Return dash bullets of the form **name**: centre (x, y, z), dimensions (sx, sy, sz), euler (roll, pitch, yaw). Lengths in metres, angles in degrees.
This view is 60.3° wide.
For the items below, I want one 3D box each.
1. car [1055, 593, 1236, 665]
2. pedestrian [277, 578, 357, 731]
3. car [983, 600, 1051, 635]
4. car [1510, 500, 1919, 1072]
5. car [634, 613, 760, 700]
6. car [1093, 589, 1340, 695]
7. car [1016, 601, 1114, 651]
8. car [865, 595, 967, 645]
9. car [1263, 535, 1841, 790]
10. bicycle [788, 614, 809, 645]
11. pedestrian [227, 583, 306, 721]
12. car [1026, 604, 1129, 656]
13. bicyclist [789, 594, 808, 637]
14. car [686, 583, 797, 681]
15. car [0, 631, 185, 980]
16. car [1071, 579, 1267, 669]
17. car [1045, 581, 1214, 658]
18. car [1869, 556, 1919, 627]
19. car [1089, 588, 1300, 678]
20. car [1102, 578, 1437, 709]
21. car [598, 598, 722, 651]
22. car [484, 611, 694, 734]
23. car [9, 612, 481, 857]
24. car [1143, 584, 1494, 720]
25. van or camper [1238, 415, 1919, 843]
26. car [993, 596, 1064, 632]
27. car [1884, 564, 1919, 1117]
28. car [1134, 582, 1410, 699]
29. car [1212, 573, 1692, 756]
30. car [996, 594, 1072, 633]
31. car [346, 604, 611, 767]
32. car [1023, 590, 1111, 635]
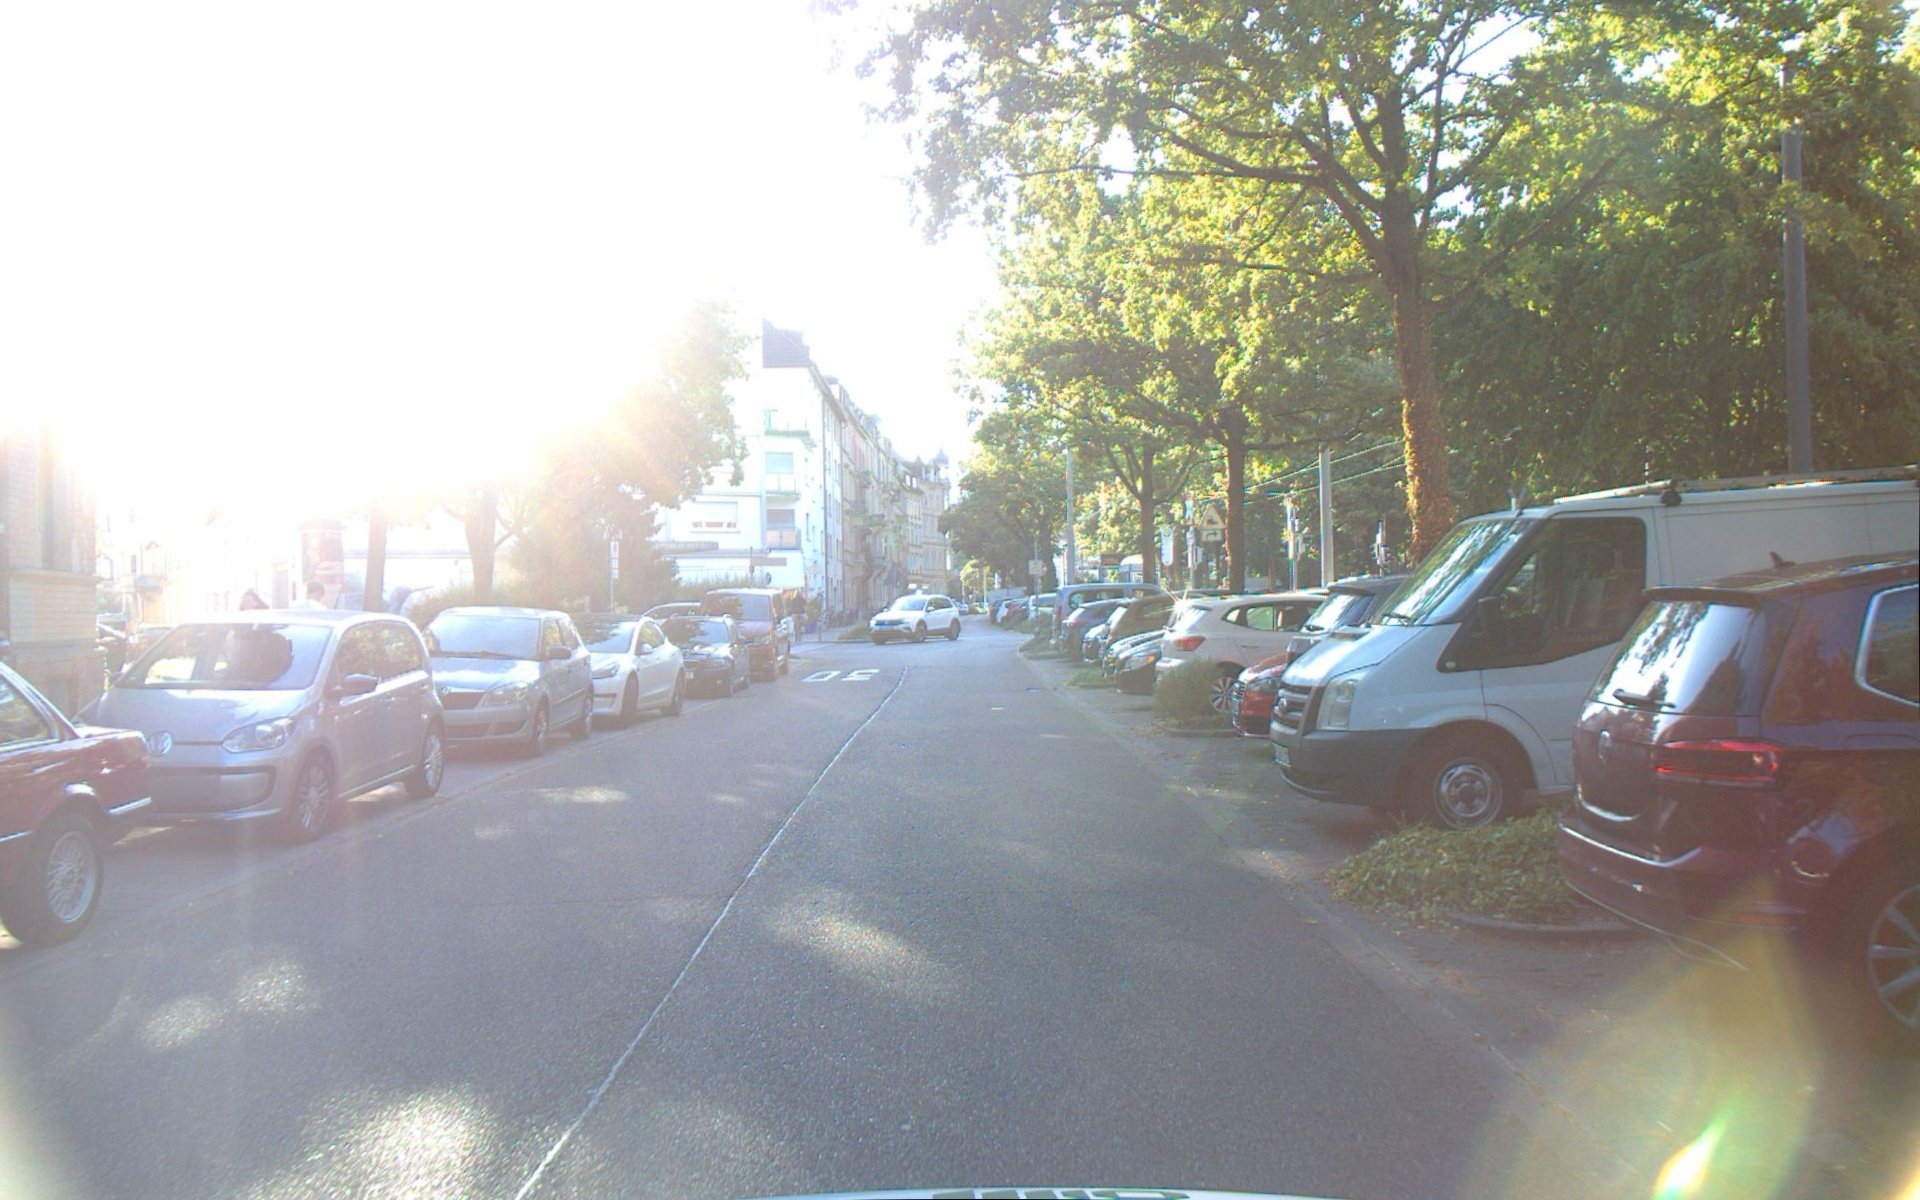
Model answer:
- **car**: centre (4.226, 0.689, 38.156), dimensions (3.907, 1.591, 1.858), euler (0, -2, -3)
- **pedestrian**: centre (-7.388, 0.615, 19.025), dimensions (0.585, 1.697, 0.708), euler (-2, 2, -1)
- **car**: centre (3.504, 1.108, 101.843), dimensions (3.901, 2.049, 2.001), euler (-1, -2, 11)
- **car**: centre (4.288, 0.477, 5.988), dimensions (3.905, 1.721, 1.859), euler (-3, 0, 1)
- **car**: centre (-4.893, 1.017, 31.286), dimensions (1.720, 1.491, 4.267), euler (0, 0, 0)
- **car**: centre (4.361, 0.725, 28.523), dimensions (3.907, 1.729, 1.858), euler (0, -2, -3)
- **car**: centre (4.484, 1.142, 70.304), dimensions (3.901, 2.049, 2.001), euler (-1, -2, 11)
- **car**: centre (-1.505, 0.688, 58.529), dimensions (1.743, 1.703, 4.483), euler (-1, 0, 25)
- **car**: centre (4.549, 0.455, 13.116), dimensions (3.907, 1.849, 1.858), euler (0, 0, -3)
- **bicycle**: centre (-5.958, 1.084, 61.109), dimensions (0.628, 1.119, 1.943), euler (0, -2, -1)
- **pedestrian**: centre (-8.281, 0.608, 19.760), dimensions (0.585, 1.577, 0.708), euler (-2, 2, -1)
- **car**: centre (4.748, 1.230, 66.763), dimensions (3.901, 2.049, 2.001), euler (-1, -2, 11)
- **bicyclist**: centre (-5.971, 0.579, 61.160), dimensions (0.615, 1.601, 0.802), euler (0, -2, -1)
- **car**: centre (-4.790, 0.672, 36.823), dimensions (1.917, 2.053, 4.267), euler (0, 0, 0)
- **car**: centre (-4.907, 0.892, 6.556), dimensions (1.636, 1.454, 4.241), euler (-1, 0, 0)
- **car**: centre (4.432, 0.533, 35.486), dimensions (3.907, 1.857, 1.858), euler (0, -2, -3)
- **car**: centre (4.134, 0.501, 40.831), dimensions (3.907, 1.825, 1.858), euler (0, -2, -3)
- **car**: centre (25.140, -0.228, 40.728), dimensions (4.604, 1.713, 1.999), euler (-1, -2, 23)
- **car**: centre (4.647, 0.668, 33.186), dimensions (3.907, 1.729, 1.858), euler (0, -2, -3)
- **car**: centre (4.249, 0.607, 23.159), dimensions (4.302, 1.729, 1.858), euler (0, -2, -3)
- **car**: centre (-10.338, 0.862, 57.178), dimensions (3.904, 1.736, 2.000), euler (0, -2, 1)
- **car**: centre (-4.940, 0.908, 22.629), dimensions (1.719, 1.491, 4.269), euler (0, 0, 3)
- **car**: centre (-4.952, 0.838, 12.096), dimensions (1.668, 1.454, 3.878), euler (1, 0, 1)
- **car**: centre (4.360, 0.641, 20.542), dimensions (3.907, 1.575, 1.858), euler (0, -2, -3)
- **van or camper**: centre (4.424, 0.181, 10.552), dimensions (4.881, 2.419, 2.184), euler (0, -2, -2)
- **car**: centre (4.081, 0.858, 98.319), dimensions (3.901, 2.049, 2.001), euler (-1, -2, 11)
- **car**: centre (4.475, 0.534, 3.527), dimensions (3.905, 1.486, 1.859), euler (-3, 0, 1)
- **car**: centre (4.809, 0.638, 25.872), dimensions (3.907, 1.729, 1.858), euler (0, -2, -3)
- **car**: centre (4.484, 0.593, 15.487), dimensions (3.907, 1.575, 1.858), euler (0, -2, -3)
- **car**: centre (4.111, 0.778, 91.458), dimensions (3.901, 2.049, 2.001), euler (-1, -2, 11)
- **car**: centre (-5.050, 0.820, 17.936), dimensions (1.721, 1.542, 4.160), euler (0, 0, -1)
- **car**: centre (5.061, 0.605, 77.979), dimensions (3.901, 2.049, 2.001), euler (-1, -2, 11)
